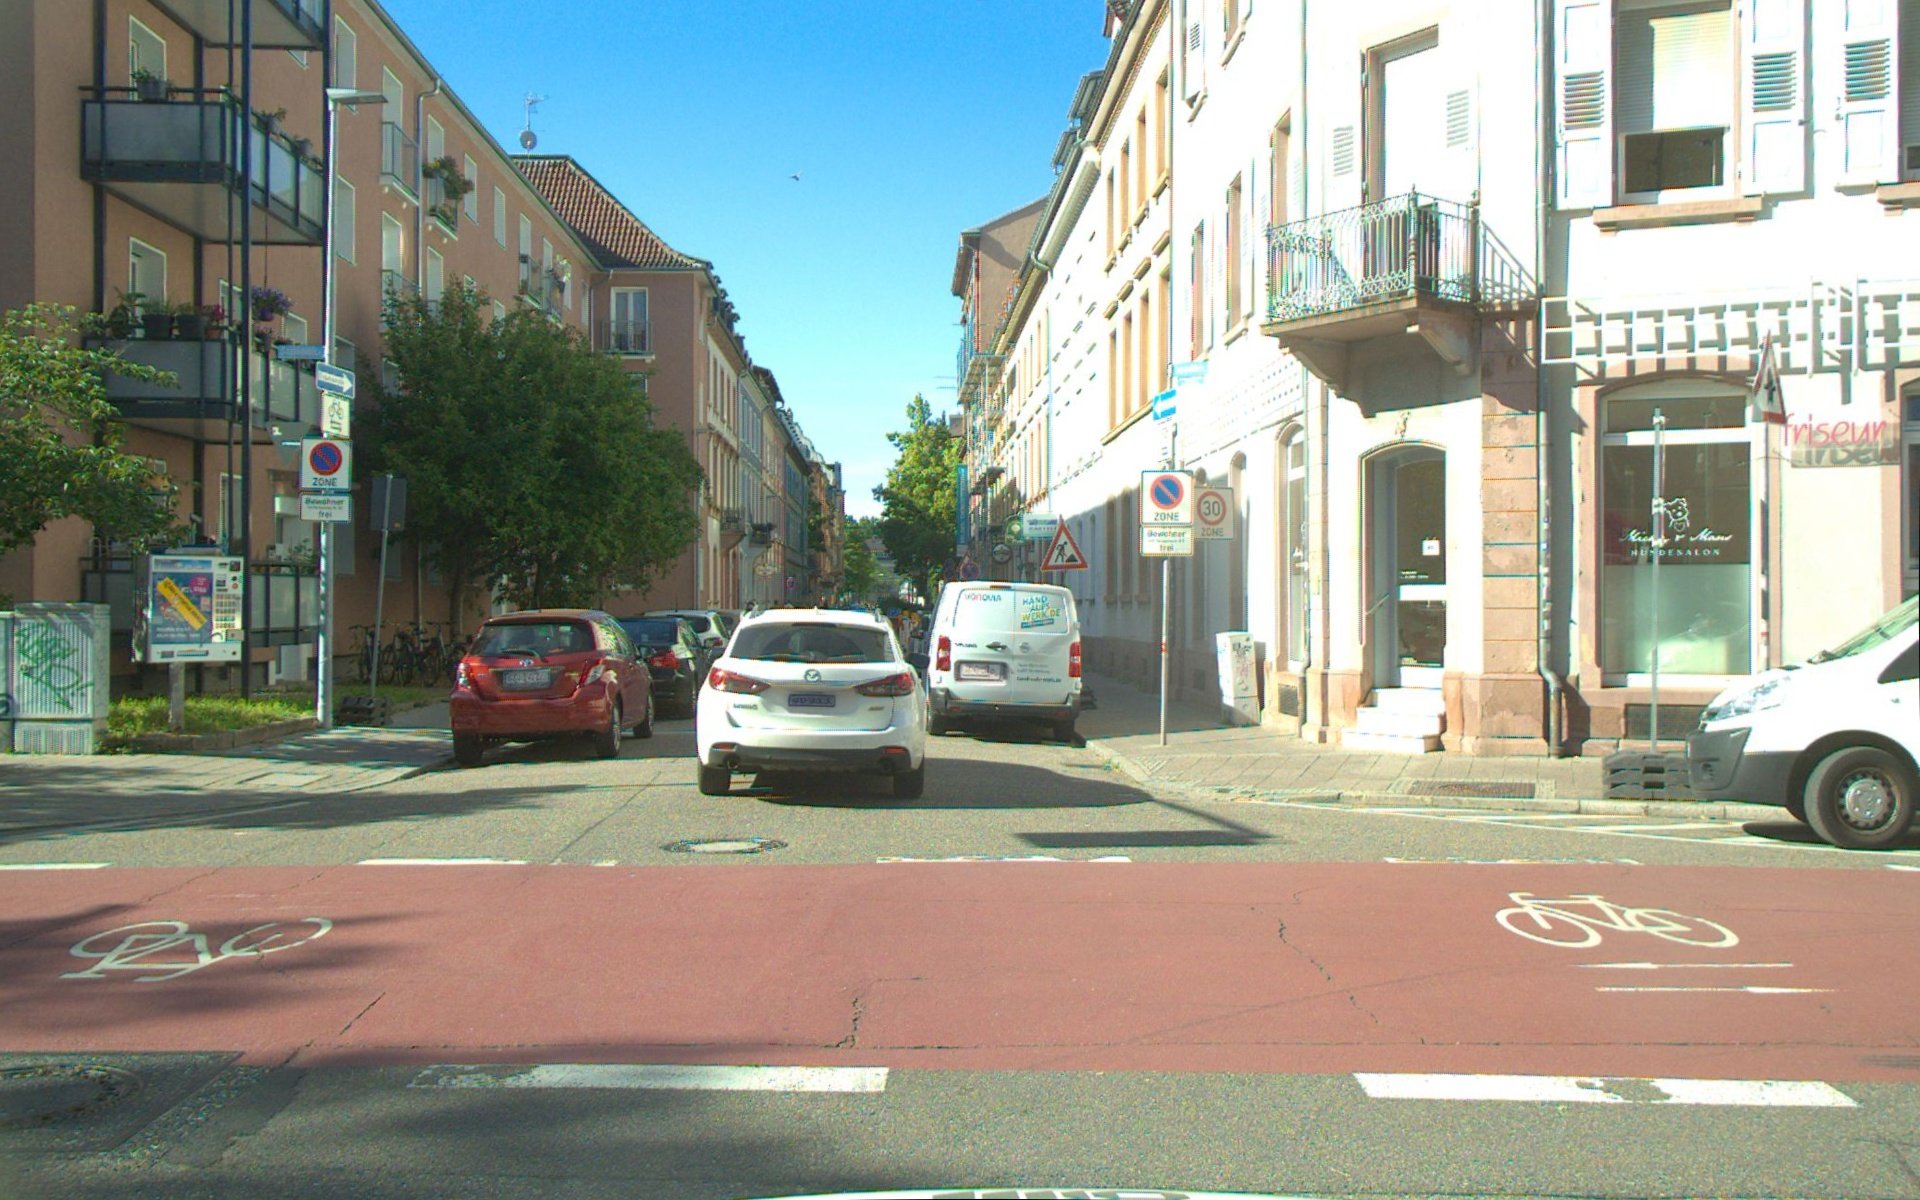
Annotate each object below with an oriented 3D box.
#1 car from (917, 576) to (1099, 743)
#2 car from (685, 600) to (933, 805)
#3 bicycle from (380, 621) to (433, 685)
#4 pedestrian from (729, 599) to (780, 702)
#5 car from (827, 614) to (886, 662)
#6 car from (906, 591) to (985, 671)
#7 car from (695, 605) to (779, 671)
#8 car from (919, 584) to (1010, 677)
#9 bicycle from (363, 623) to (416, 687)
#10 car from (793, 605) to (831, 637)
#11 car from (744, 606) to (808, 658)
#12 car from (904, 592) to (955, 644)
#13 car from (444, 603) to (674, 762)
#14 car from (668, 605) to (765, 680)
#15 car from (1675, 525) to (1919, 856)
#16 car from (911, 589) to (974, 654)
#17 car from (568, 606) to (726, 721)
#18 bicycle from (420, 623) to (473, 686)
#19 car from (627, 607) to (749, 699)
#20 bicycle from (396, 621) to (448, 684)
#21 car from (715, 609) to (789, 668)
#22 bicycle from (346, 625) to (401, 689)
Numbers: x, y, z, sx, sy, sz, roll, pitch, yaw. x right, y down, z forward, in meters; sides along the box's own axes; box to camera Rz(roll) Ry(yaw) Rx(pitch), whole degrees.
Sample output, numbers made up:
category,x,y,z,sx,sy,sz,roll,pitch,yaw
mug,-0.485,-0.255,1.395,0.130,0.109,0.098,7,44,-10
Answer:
category,x,y,z,sx,sy,sz,roll,pitch,yaw
car,0.507,0.704,21.901,1.857,1.892,5.009,2,0,-4
car,-1.145,0.794,14.007,1.794,1.483,3.960,0,-2,-2
bicycle,-9.691,0.924,28.944,1.193,1.089,0.252,0,0,38
pedestrian,-3.351,0.810,26.932,0.720,1.642,0.813,0,-1,-14
car,-3.271,1.186,52.978,1.725,1.435,4.326,0,0,-1
car,-0.382,0.745,41.086,1.856,1.892,3.993,0,0,-1
car,-5.402,0.901,40.440,1.620,1.526,3.761,0,0,-1
car,0.046,0.627,35.827,1.856,1.892,3.993,0,0,-1
bicycle,-9.892,0.944,28.667,1.193,1.091,0.265,0,0,38
car,-7.248,0.999,81.276,1.620,1.526,3.761,0,0,-1
car,-5.587,0.946,50.672,1.620,1.526,3.761,0,0,-1
car,-1.176,0.673,63.236,1.856,1.892,3.993,0,0,-1
car,-4.280,0.818,18.201,1.651,1.526,3.805,-1,0,-1
car,-5.235,0.886,35.891,1.620,1.526,3.761,0,0,-1
car,7.188,0.544,10.393,4.907,1.980,2.050,0,0,23
car,-0.573,0.671,52.682,1.856,1.891,3.993,-3,0,-1
car,-4.459,0.855,24.090,1.620,1.526,4.078,0,0,-1
bicycle,-9.096,0.949,29.269,1.196,1.090,0.252,0,0,38
car,-4.729,0.889,29.216,1.620,1.526,3.761,0,0,-1
bicycle,-9.499,0.914,29.185,1.193,1.090,0.252,0,0,38
car,-5.610,1.019,44.905,1.620,1.526,3.761,0,0,-1
bicycle,-10.072,0.969,28.400,1.193,1.053,0.290,0,0,38
